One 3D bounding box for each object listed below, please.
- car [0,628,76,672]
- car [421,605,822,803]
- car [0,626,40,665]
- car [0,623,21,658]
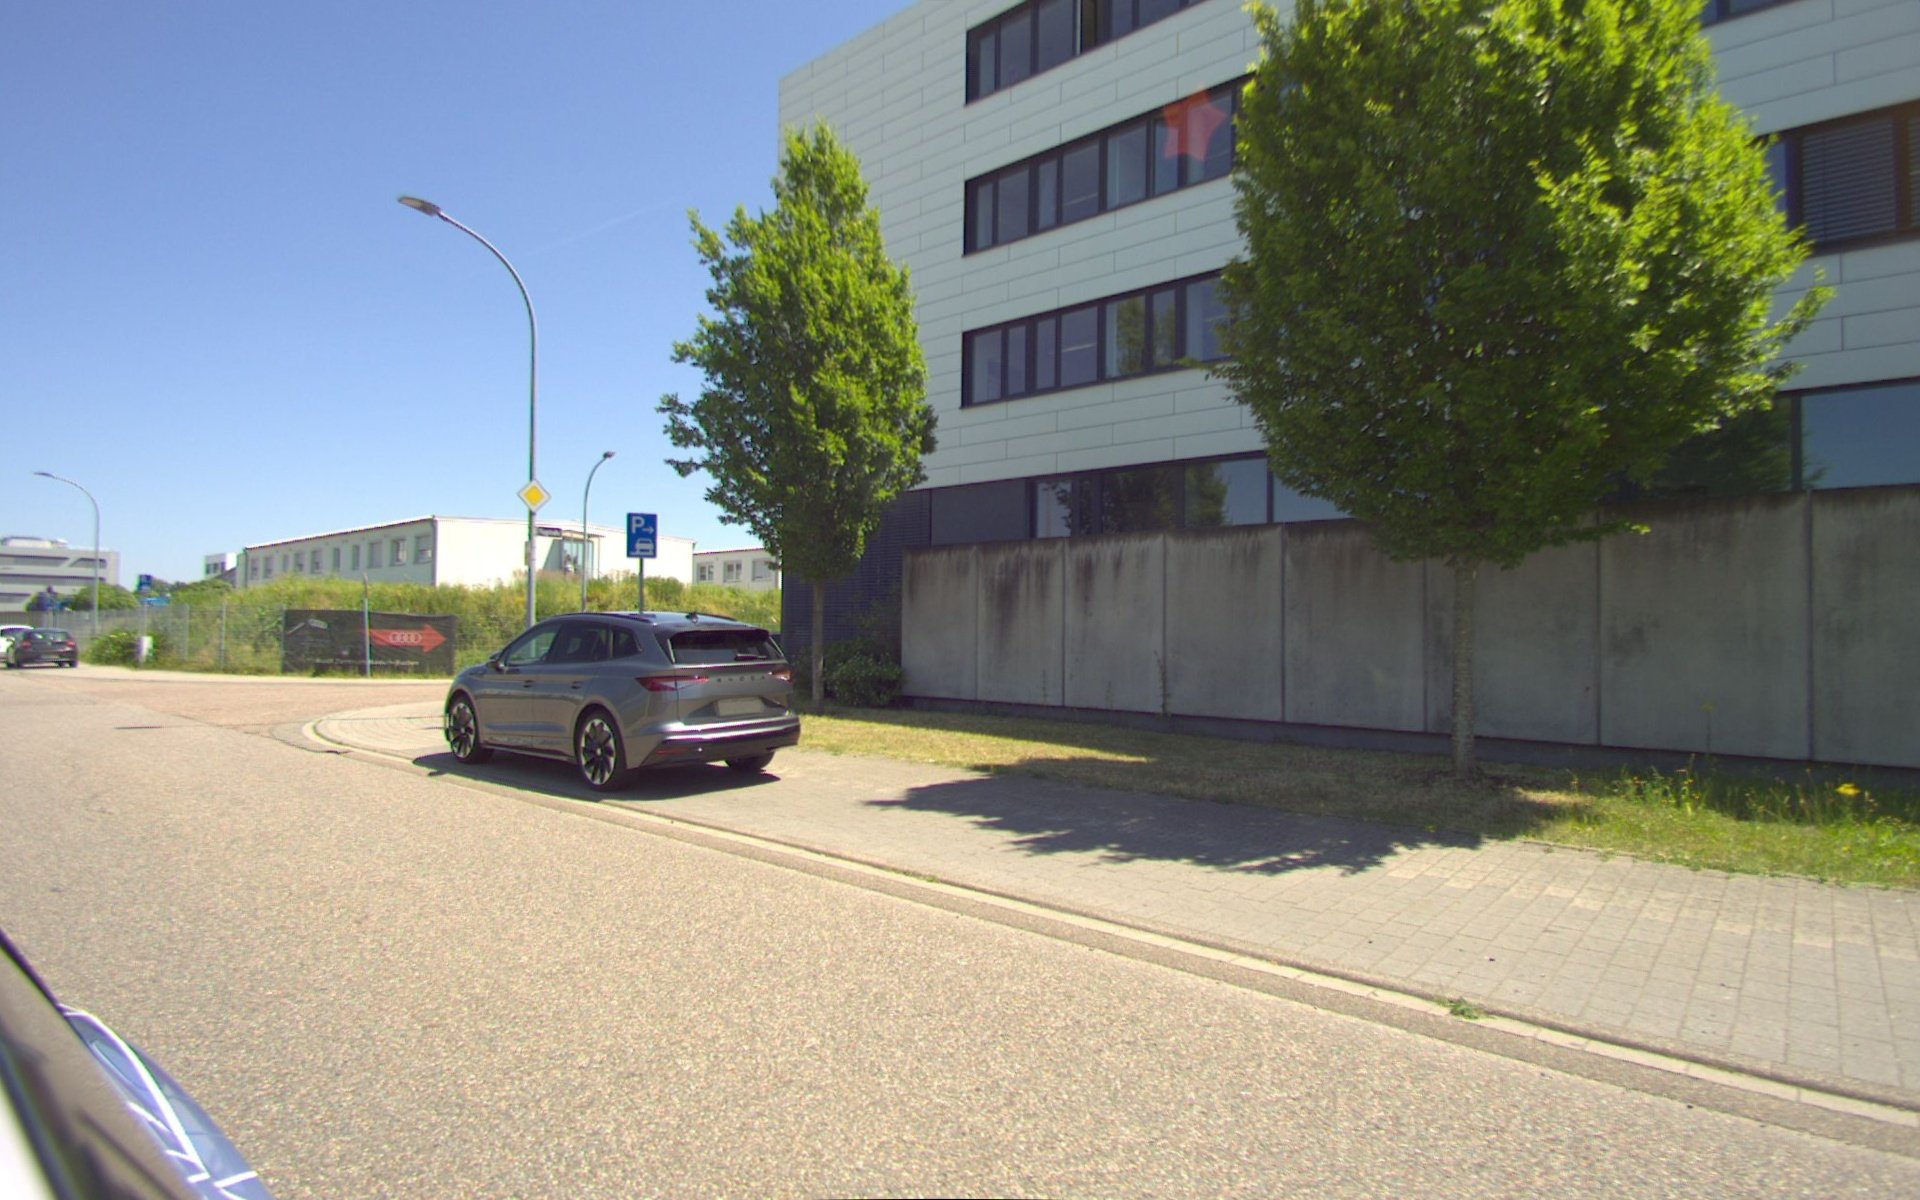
[{"bbox_3d":[-33.180,1.740,36.300,4.067,1.461,1.656,-1,-1,41],"label":"car"},{"bbox_3d":[-3.581,0.905,10.288,4.476,1.600,1.753,-2,-2,39],"label":"car"},{"bbox_3d":[-40.082,1.887,42.521,3.756,1.541,1.656,-1,-1,41],"label":"car"},{"bbox_3d":[-44.912,1.871,46.884,3.908,1.541,1.656,-1,-1,41],"label":"car"}]
